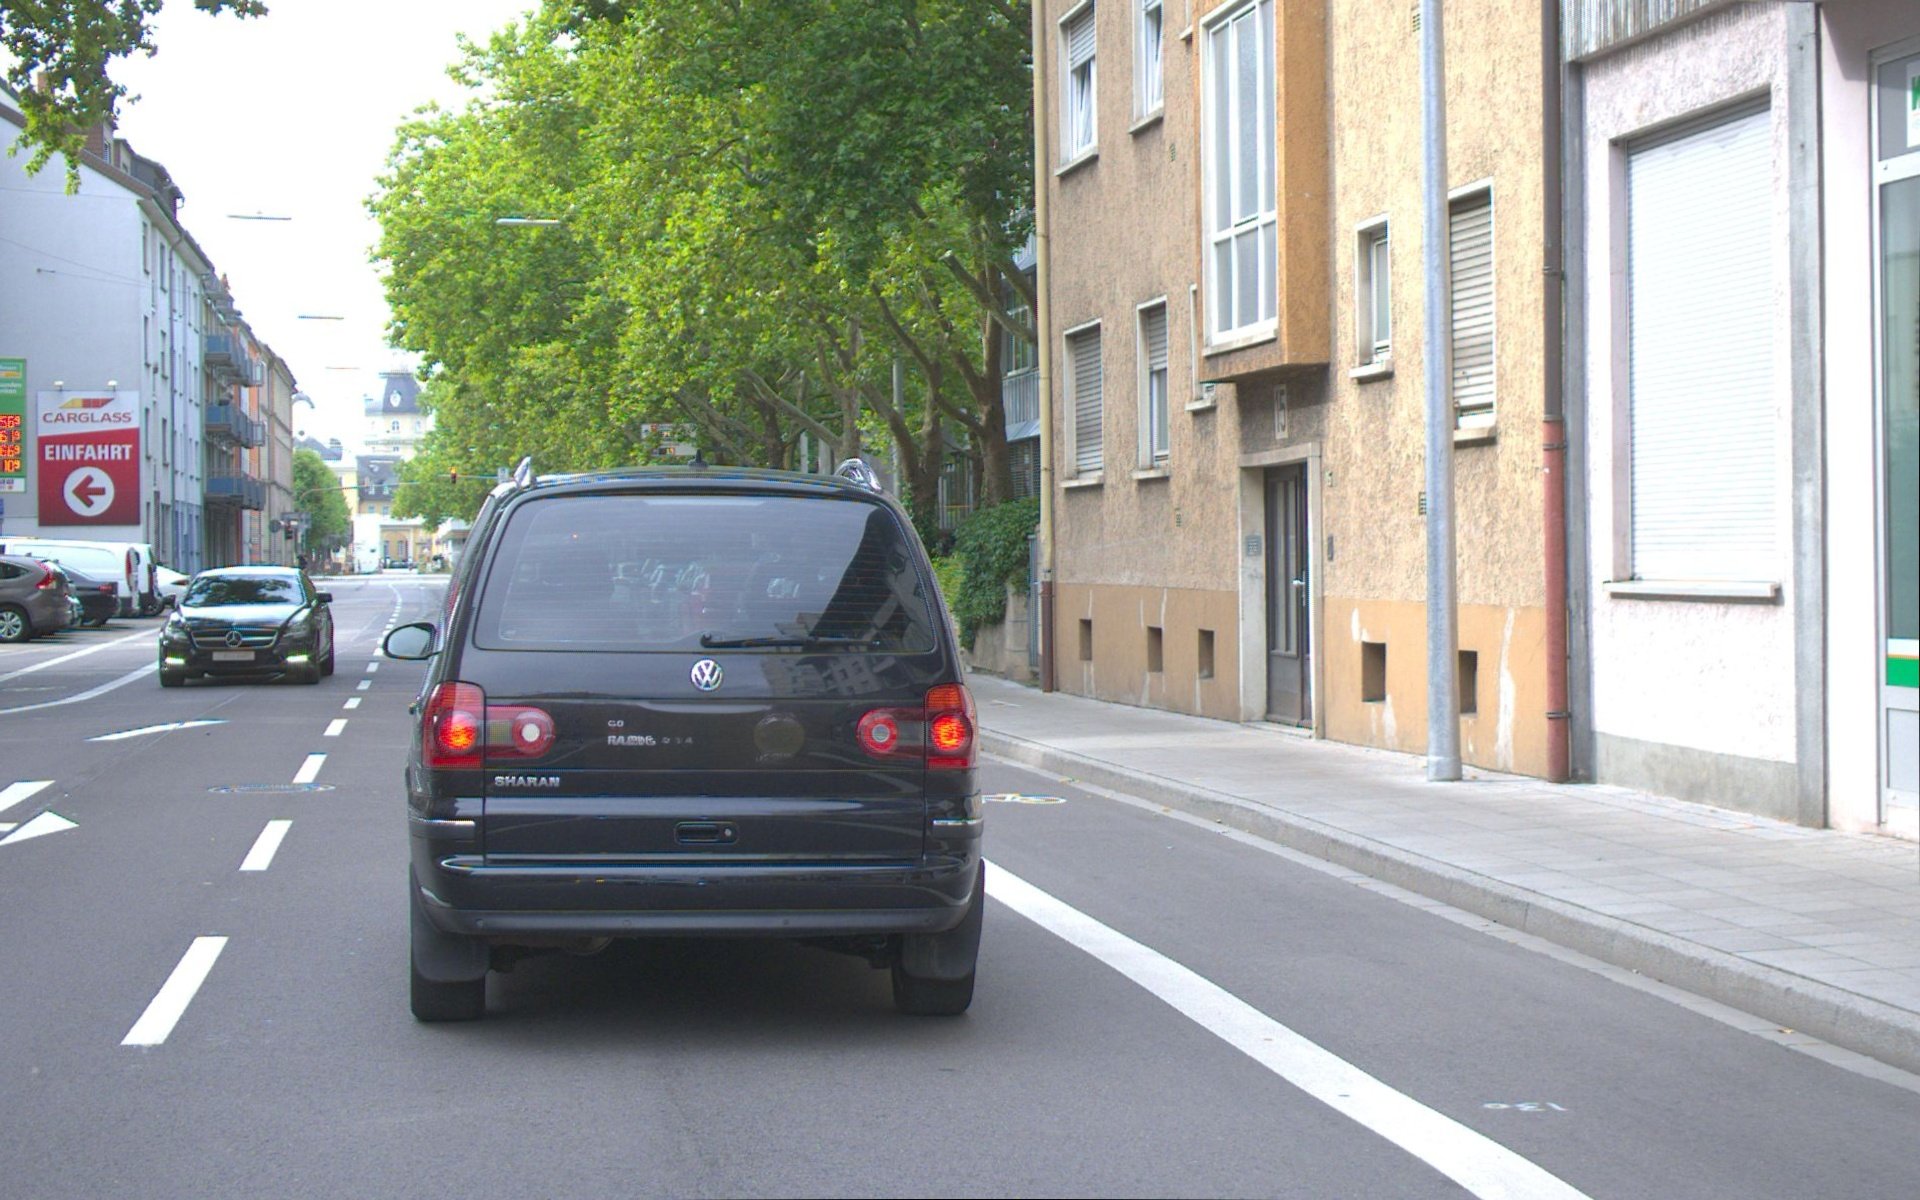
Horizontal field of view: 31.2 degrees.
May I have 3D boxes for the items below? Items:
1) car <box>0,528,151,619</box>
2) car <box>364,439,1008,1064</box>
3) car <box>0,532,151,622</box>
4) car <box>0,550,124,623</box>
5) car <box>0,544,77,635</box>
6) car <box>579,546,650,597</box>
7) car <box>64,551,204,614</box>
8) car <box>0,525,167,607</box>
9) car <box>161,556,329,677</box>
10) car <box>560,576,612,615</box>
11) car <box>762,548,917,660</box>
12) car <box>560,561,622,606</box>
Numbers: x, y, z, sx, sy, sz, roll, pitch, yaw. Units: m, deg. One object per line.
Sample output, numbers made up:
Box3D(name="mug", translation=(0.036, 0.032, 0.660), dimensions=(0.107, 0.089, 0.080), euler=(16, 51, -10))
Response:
Box3D(name="car", translation=(-20.147, -0.608, 75.241), dimensions=(4.525, 1.872, 2.047), euler=(2, 1, -8))
Box3D(name="car", translation=(-1.040, 0.383, 11.641), dimensions=(1.812, 1.760, 3.739), euler=(1, 2, -8))
Box3D(name="car", translation=(-20.961, -0.554, 77.878), dimensions=(4.915, 1.897, 2.001), euler=(2, 0, -9))
Box3D(name="car", translation=(-19.617, -0.313, 72.533), dimensions=(3.681, 1.440, 1.754), euler=(2, 1, -9))
Box3D(name="car", translation=(-18.742, -0.245, 63.943), dimensions=(4.255, 1.600, 1.969), euler=(1, 2, -8))
Box3D(name="car", translation=(-9.687, -0.805, 96.114), dimensions=(1.675, 1.389, 4.462), euler=(0, 1, -10))
Box3D(name="car", translation=(-20.838, -0.438, 86.822), dimensions=(3.342, 1.491, 1.597), euler=(1, 0, -10))
Box3D(name="car", translation=(-21.743, -0.841, 84.408), dimensions=(4.306, 1.863, 1.825), euler=(2, 0, -10))
Box3D(name="car", translation=(-8.819, 0.161, 42.682), dimensions=(1.810, 1.403, 4.610), euler=(0, 1, -9))
Box3D(name="car", translation=(-13.826, -0.182, 126.910), dimensions=(1.675, 1.389, 3.880), euler=(0, 1, -10))
Box3D(name="car", translation=(-1.704, 0.024, 47.544), dimensions=(1.657, 1.417, 3.867), euler=(-1, 2, -9))
Box3D(name="car", translation=(-11.966, -0.546, 111.342), dimensions=(1.641, 1.409, 3.417), euler=(0, 1, -12))
